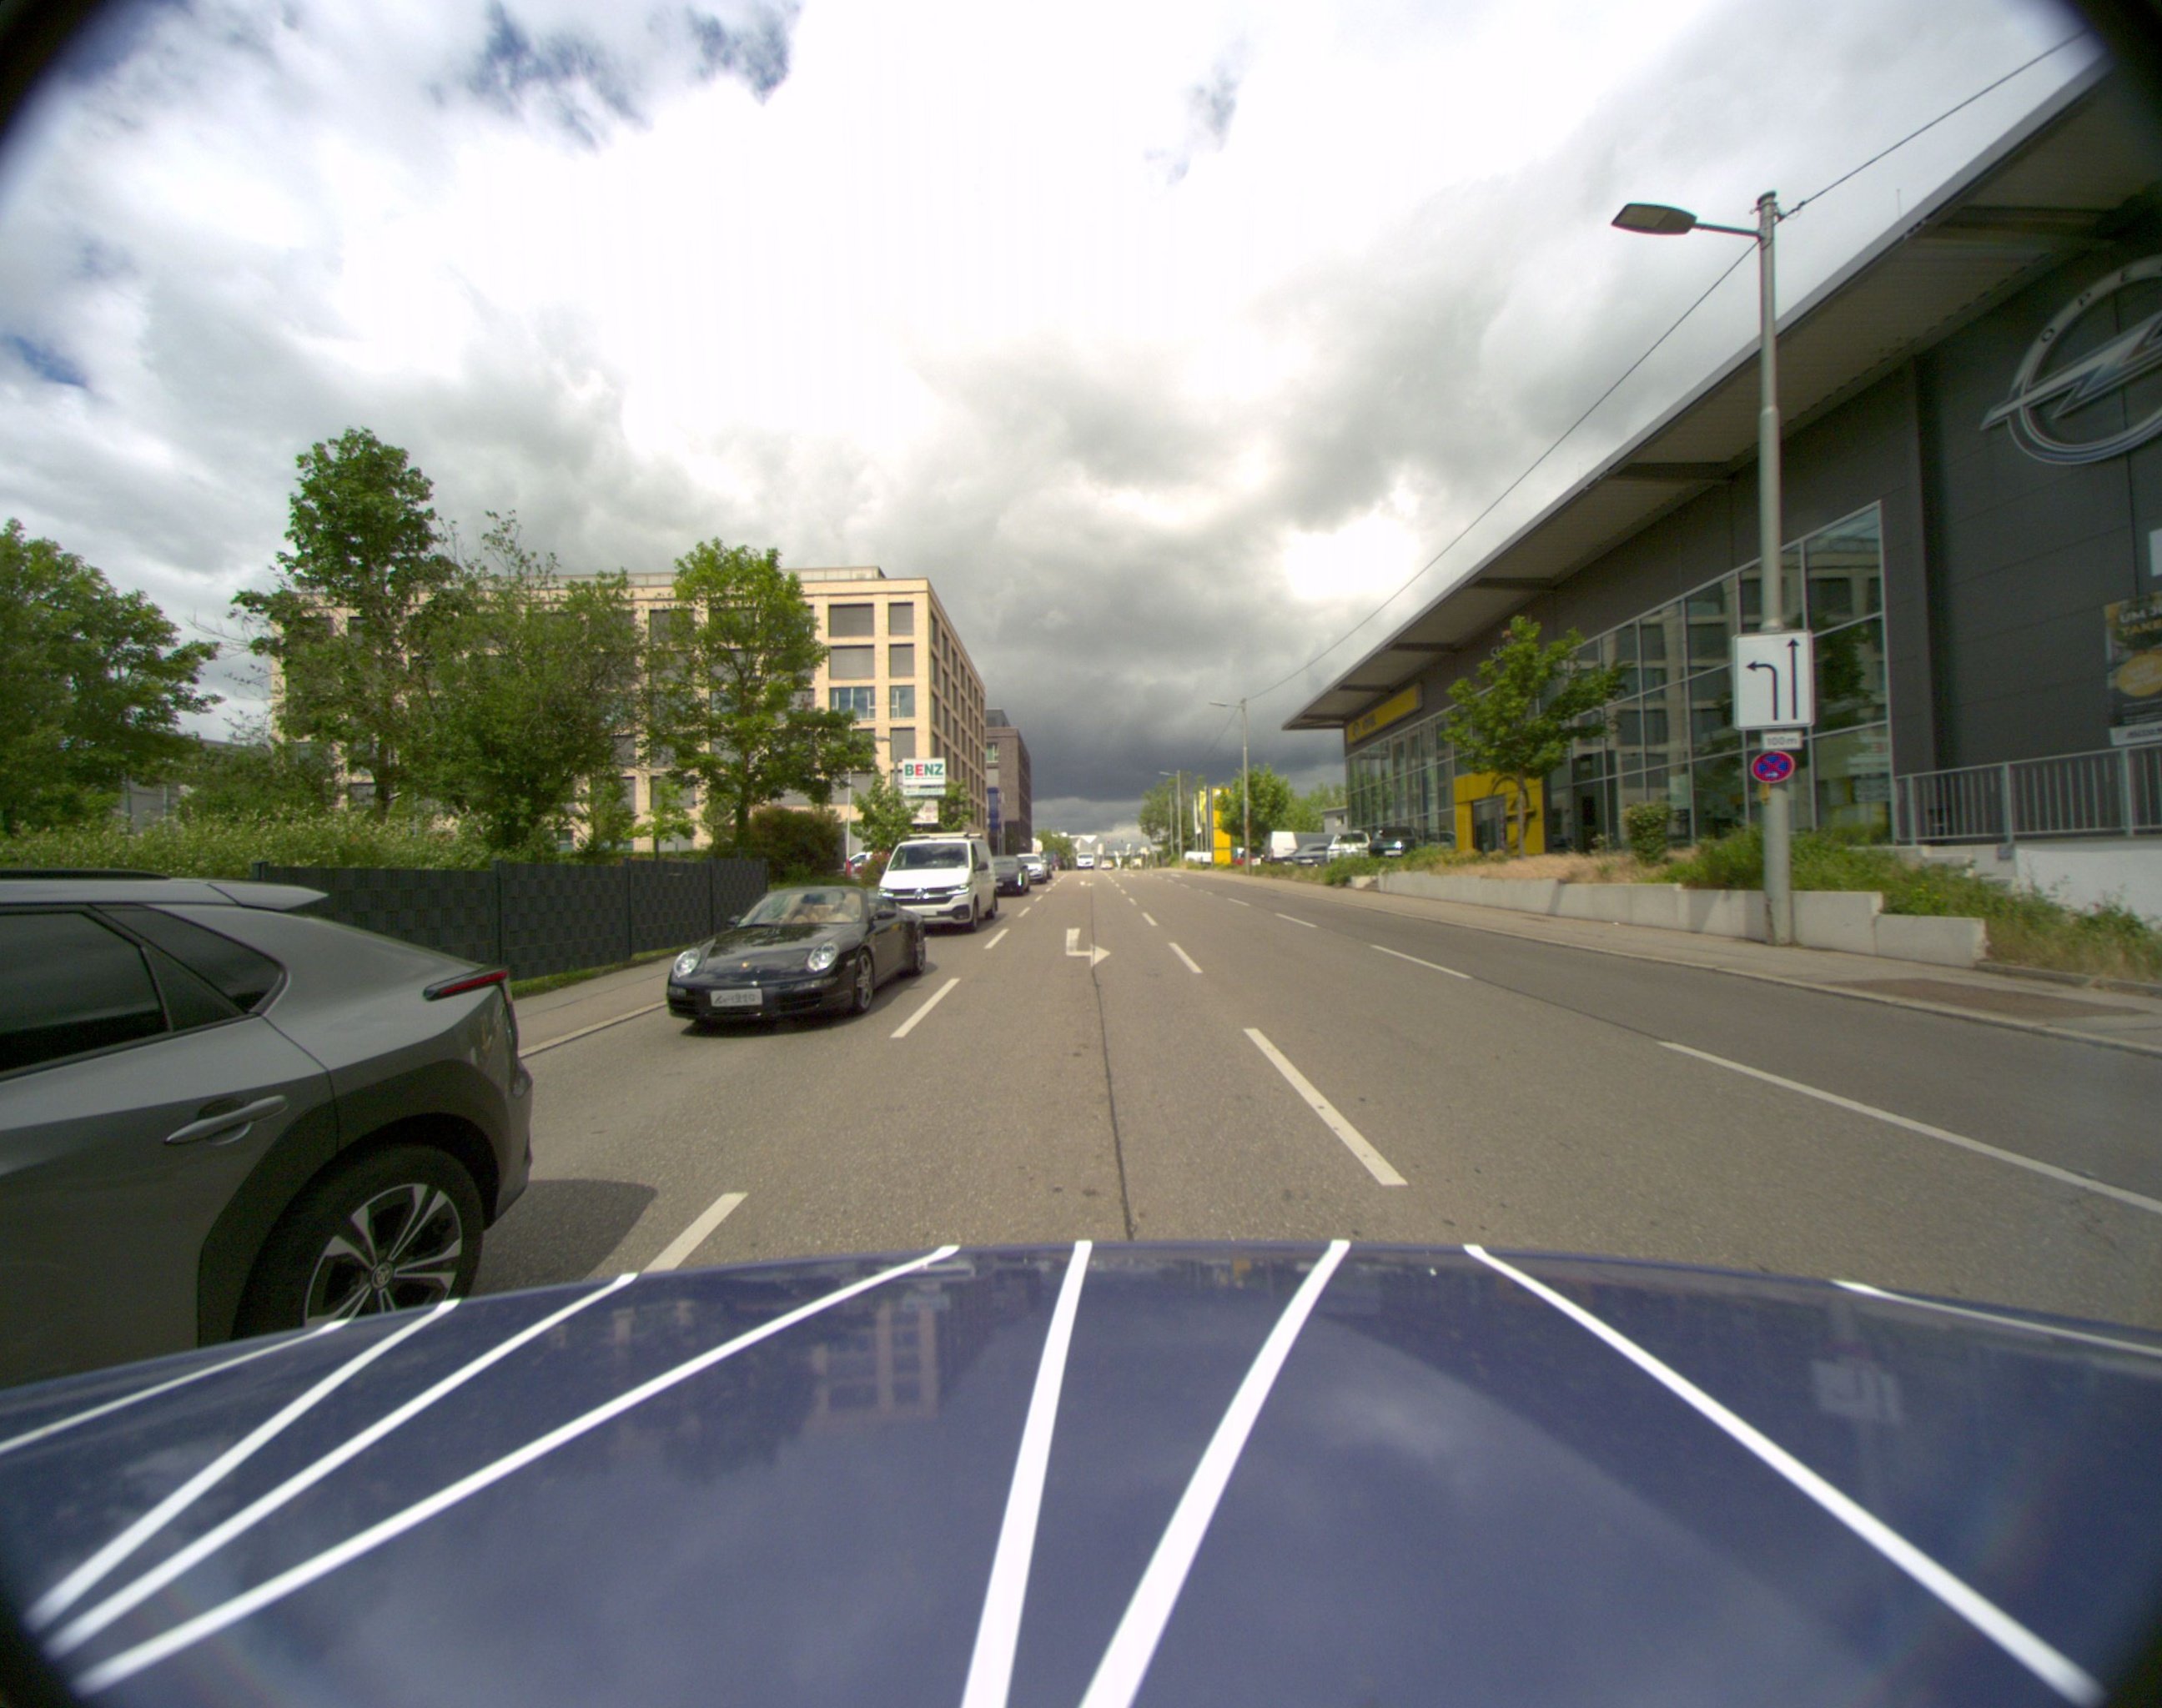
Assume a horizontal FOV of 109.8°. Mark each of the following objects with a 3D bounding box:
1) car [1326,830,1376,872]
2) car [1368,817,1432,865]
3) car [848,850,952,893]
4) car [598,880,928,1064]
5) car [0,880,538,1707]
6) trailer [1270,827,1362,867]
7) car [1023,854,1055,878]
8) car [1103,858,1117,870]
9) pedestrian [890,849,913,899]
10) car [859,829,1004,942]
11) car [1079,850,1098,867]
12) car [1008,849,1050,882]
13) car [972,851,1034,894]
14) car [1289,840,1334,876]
[{"bbox_3d":[12.146,-0.143,34.100,1.995,1.783,4.005,0,1,20],"label":"car"},{"bbox_3d":[12.317,-0.489,29.587,1.996,1.718,4.005,0,1,18],"label":"car"},{"bbox_3d":[-7.650,0.715,32.388,3.998,1.723,1.822,-1,1,-3],"label":"car"},{"bbox_3d":[-3.050,1.050,8.335,1.824,1.286,4.037,-2,1,1],"label":"car"},{"bbox_3d":[-3.044,0.954,0.519,1.998,1.620,4.579,-1,1,0],"label":"car"},{"bbox_3d":[14.424,-0.435,46.832,5.074,2.336,1.999,-1,1,-1],"label":"trailer"},{"bbox_3d":[-2.491,0.691,46.310,1.662,1.351,3.999,-1,1,1],"label":"car"},{"bbox_3d":[4.509,1.569,117.617,1.998,1.731,4.546,-1,1,1],"label":"car"},{"bbox_3d":[-6.210,0.675,26.281,0.602,1.710,0.553,-1,1,1],"label":"pedestrian"},{"bbox_3d":[-3.030,0.566,16.548,2.089,2.037,4.759,-2,1,1],"label":"car"},{"bbox_3d":[0.907,0.457,86.627,1.998,1.819,4.547,-1,1,2],"label":"car"},{"bbox_3d":[-2.618,0.555,39.086,1.818,1.577,3.999,-1,1,1],"label":"car"},{"bbox_3d":[-2.849,0.653,28.546,1.818,1.454,3.999,-1,1,1],"label":"car"},{"bbox_3d":[12.082,0.153,39.676,1.995,1.783,4.005,0,1,20],"label":"car"}]
